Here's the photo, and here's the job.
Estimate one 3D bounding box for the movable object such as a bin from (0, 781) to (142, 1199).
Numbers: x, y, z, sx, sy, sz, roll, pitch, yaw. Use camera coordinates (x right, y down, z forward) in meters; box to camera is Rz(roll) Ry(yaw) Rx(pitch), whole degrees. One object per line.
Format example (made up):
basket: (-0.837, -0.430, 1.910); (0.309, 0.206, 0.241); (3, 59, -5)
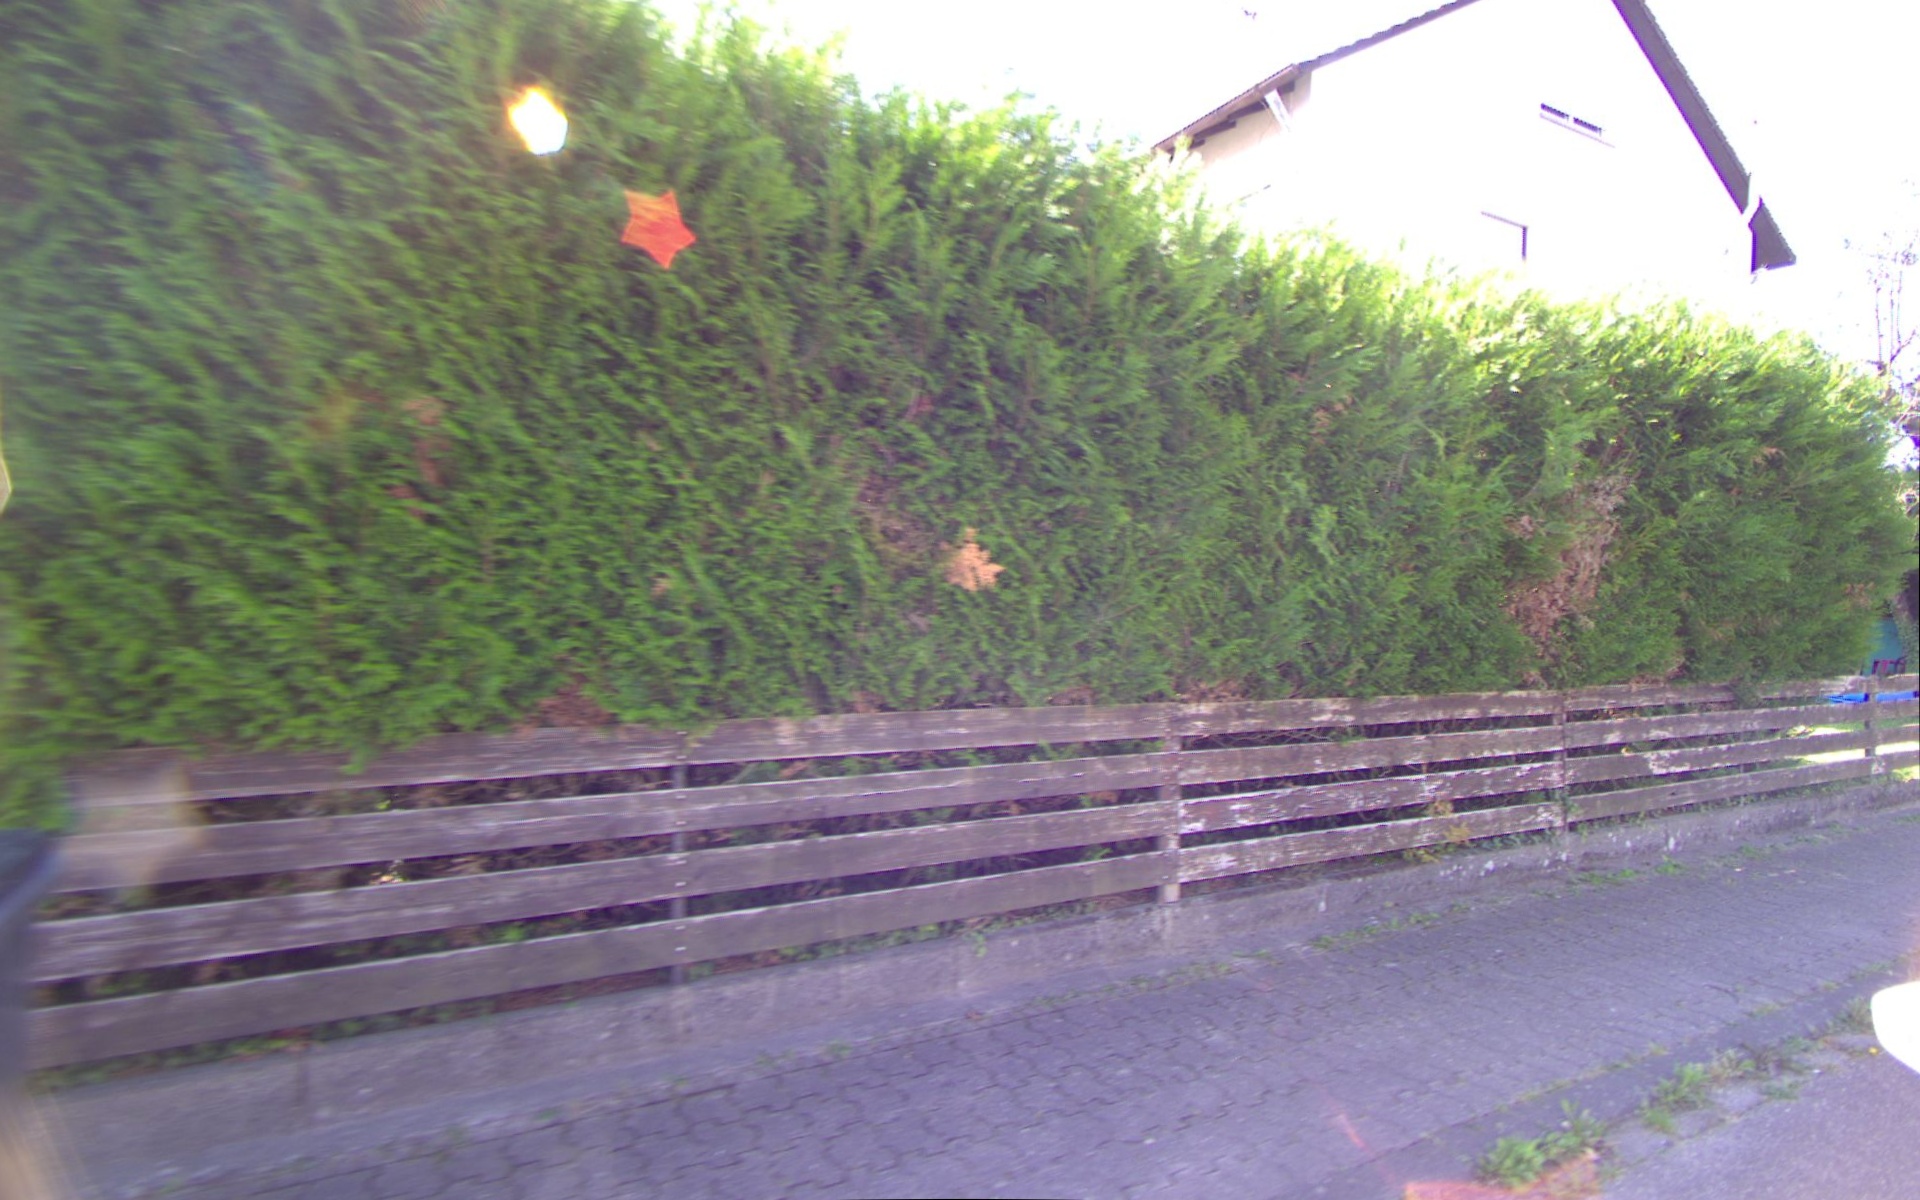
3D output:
movable object such as a bin: (-1.600, 0.875, 1.367); (0.603, 1.078, 0.815); (1, 0, -29)
